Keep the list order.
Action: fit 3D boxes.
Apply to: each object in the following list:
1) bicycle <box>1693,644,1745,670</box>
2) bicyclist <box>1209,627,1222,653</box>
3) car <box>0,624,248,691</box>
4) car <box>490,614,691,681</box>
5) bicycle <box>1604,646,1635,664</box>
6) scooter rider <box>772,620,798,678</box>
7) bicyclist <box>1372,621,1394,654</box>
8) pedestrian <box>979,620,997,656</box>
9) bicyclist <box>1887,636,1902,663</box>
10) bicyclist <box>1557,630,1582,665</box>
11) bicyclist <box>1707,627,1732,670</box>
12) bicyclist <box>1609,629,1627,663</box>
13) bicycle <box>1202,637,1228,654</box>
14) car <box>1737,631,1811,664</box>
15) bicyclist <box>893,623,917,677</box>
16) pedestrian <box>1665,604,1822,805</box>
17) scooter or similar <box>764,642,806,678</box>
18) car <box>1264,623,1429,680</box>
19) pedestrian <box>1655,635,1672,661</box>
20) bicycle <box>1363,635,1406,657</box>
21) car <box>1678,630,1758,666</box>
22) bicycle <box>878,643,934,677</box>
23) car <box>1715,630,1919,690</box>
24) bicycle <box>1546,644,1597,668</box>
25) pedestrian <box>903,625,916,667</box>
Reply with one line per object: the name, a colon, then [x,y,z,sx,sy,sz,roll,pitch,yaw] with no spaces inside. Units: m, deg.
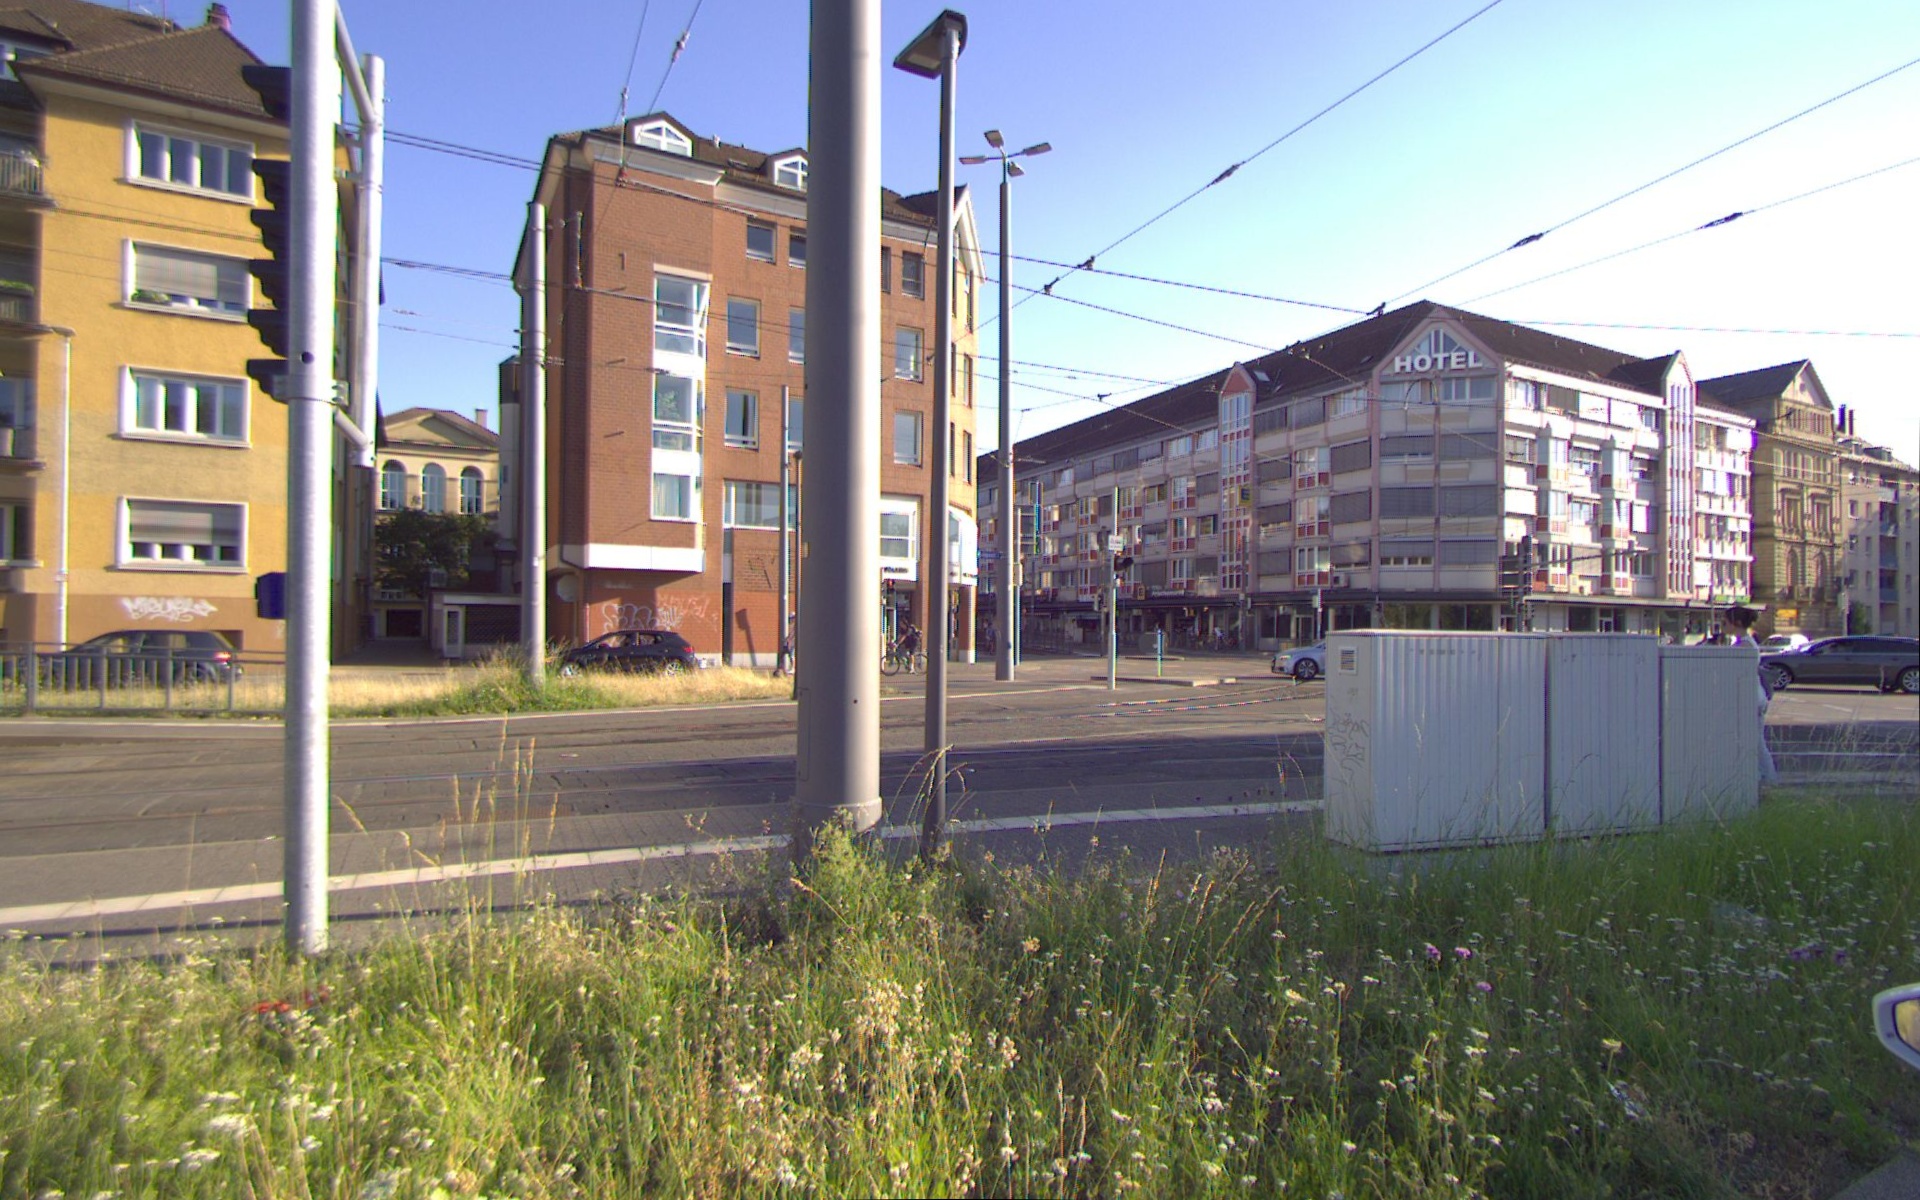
bicycle: [36.701,2.751,48.609,0.601,1.216,1.956,1,-1,-24]
bicyclist: [16.797,2.627,66.107,0.534,1.734,0.658,2,-2,-39]
car: [-17.771,1.194,21.527,3.955,1.305,1.832,1,-2,-32]
car: [-9.562,1.215,26.086,4.714,1.617,1.988,1,-2,-24]
bicycle: [35.991,2.994,54.816,1.813,0.927,0.596,1,-2,-28]
scooter rider: [-5.317,1.484,30.503,0.652,1.734,0.527,0,-1,6]
bicyclist: [22.742,2.026,53.999,0.648,1.776,0.893,1,-2,-34]
pedestrian: [1.590,2.132,56.852,0.713,2.040,0.712,1,-1,-26]
bicyclist: [66.561,3.511,71.517,0.634,1.886,0.590,1,-2,-28]
bicyclist: [30.773,2.395,50.698,0.643,1.776,0.893,1,-2,-33]
bicyclist: [36.728,2.346,48.591,0.596,2.040,0.775,1,-1,-24]
bicyclist: [35.951,2.507,54.889,0.634,1.886,0.590,1,-2,-28]
bicycle: [16.778,2.965,66.124,0.535,1.073,1.718,2,-2,-39]
car: [47.579,2.749,58.708,3.949,1.884,1.986,1,-2,-28]
bicyclist: [-1.793,1.626,32.885,0.655,1.734,0.536,1,-2,-18]
pedestrian: [6.721,0.856,8.640,0.647,1.618,0.874,1,-2,-30]
scooter or similar: [-5.304,1.813,30.494,1.152,1.086,0.530,0,-2,5]
car: [11.496,1.521,30.156,4.258,1.617,2.002,0,-2,8]
pedestrian: [43.639,2.967,62.334,0.695,1.626,0.623,1,-1,-28]
bicycle: [22.777,2.441,53.927,0.651,1.152,2.081,1,-2,-33]
car: [41.057,2.570,54.419,3.949,1.884,1.986,1,-2,-28]
bicycle: [-1.767,1.958,32.883,1.753,1.086,0.533,1,-2,-19]
car: [23.713,1.593,27.281,4.844,1.498,1.998,0,-1,26]
bicycle: [30.830,2.816,50.662,0.652,1.152,2.161,1,-2,-33]
pedestrian: [-2.213,2.011,44.089,0.532,1.831,0.502,0,-1,-2]
